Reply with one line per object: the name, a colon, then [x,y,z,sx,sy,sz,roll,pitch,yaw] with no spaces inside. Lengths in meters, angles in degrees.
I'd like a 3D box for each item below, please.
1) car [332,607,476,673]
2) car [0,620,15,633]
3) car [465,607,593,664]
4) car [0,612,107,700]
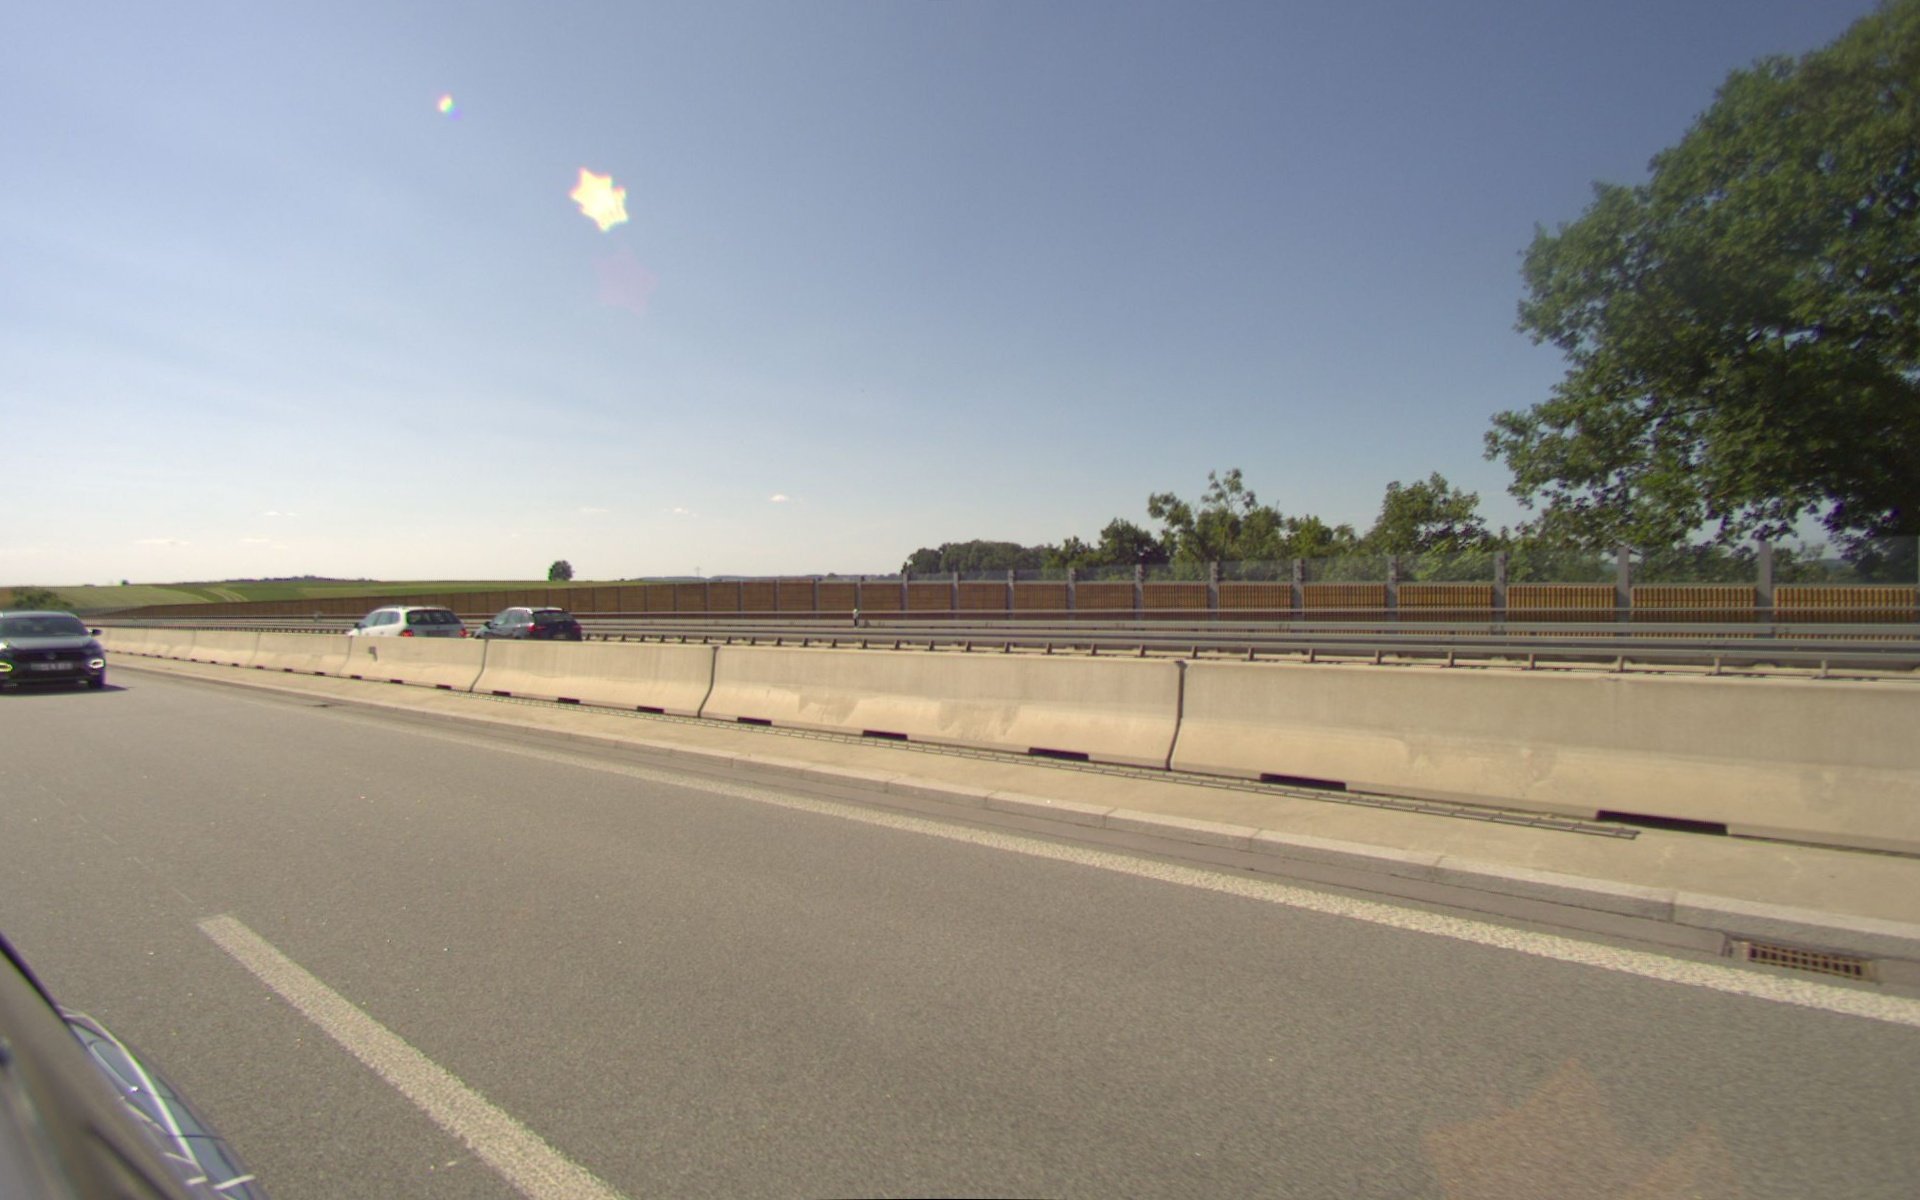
car: [-14.192,0.969,25.707,4.622,1.514,1.709,-1,0,41]
car: [-110.545,3.044,116.901,4.330,1.520,1.630,-1,0,42]
car: [-12.321,0.975,28.778,4.447,1.469,1.563,-1,0,41]
car: [-19.015,1.073,20.667,4.986,1.581,1.753,-1,0,42]
